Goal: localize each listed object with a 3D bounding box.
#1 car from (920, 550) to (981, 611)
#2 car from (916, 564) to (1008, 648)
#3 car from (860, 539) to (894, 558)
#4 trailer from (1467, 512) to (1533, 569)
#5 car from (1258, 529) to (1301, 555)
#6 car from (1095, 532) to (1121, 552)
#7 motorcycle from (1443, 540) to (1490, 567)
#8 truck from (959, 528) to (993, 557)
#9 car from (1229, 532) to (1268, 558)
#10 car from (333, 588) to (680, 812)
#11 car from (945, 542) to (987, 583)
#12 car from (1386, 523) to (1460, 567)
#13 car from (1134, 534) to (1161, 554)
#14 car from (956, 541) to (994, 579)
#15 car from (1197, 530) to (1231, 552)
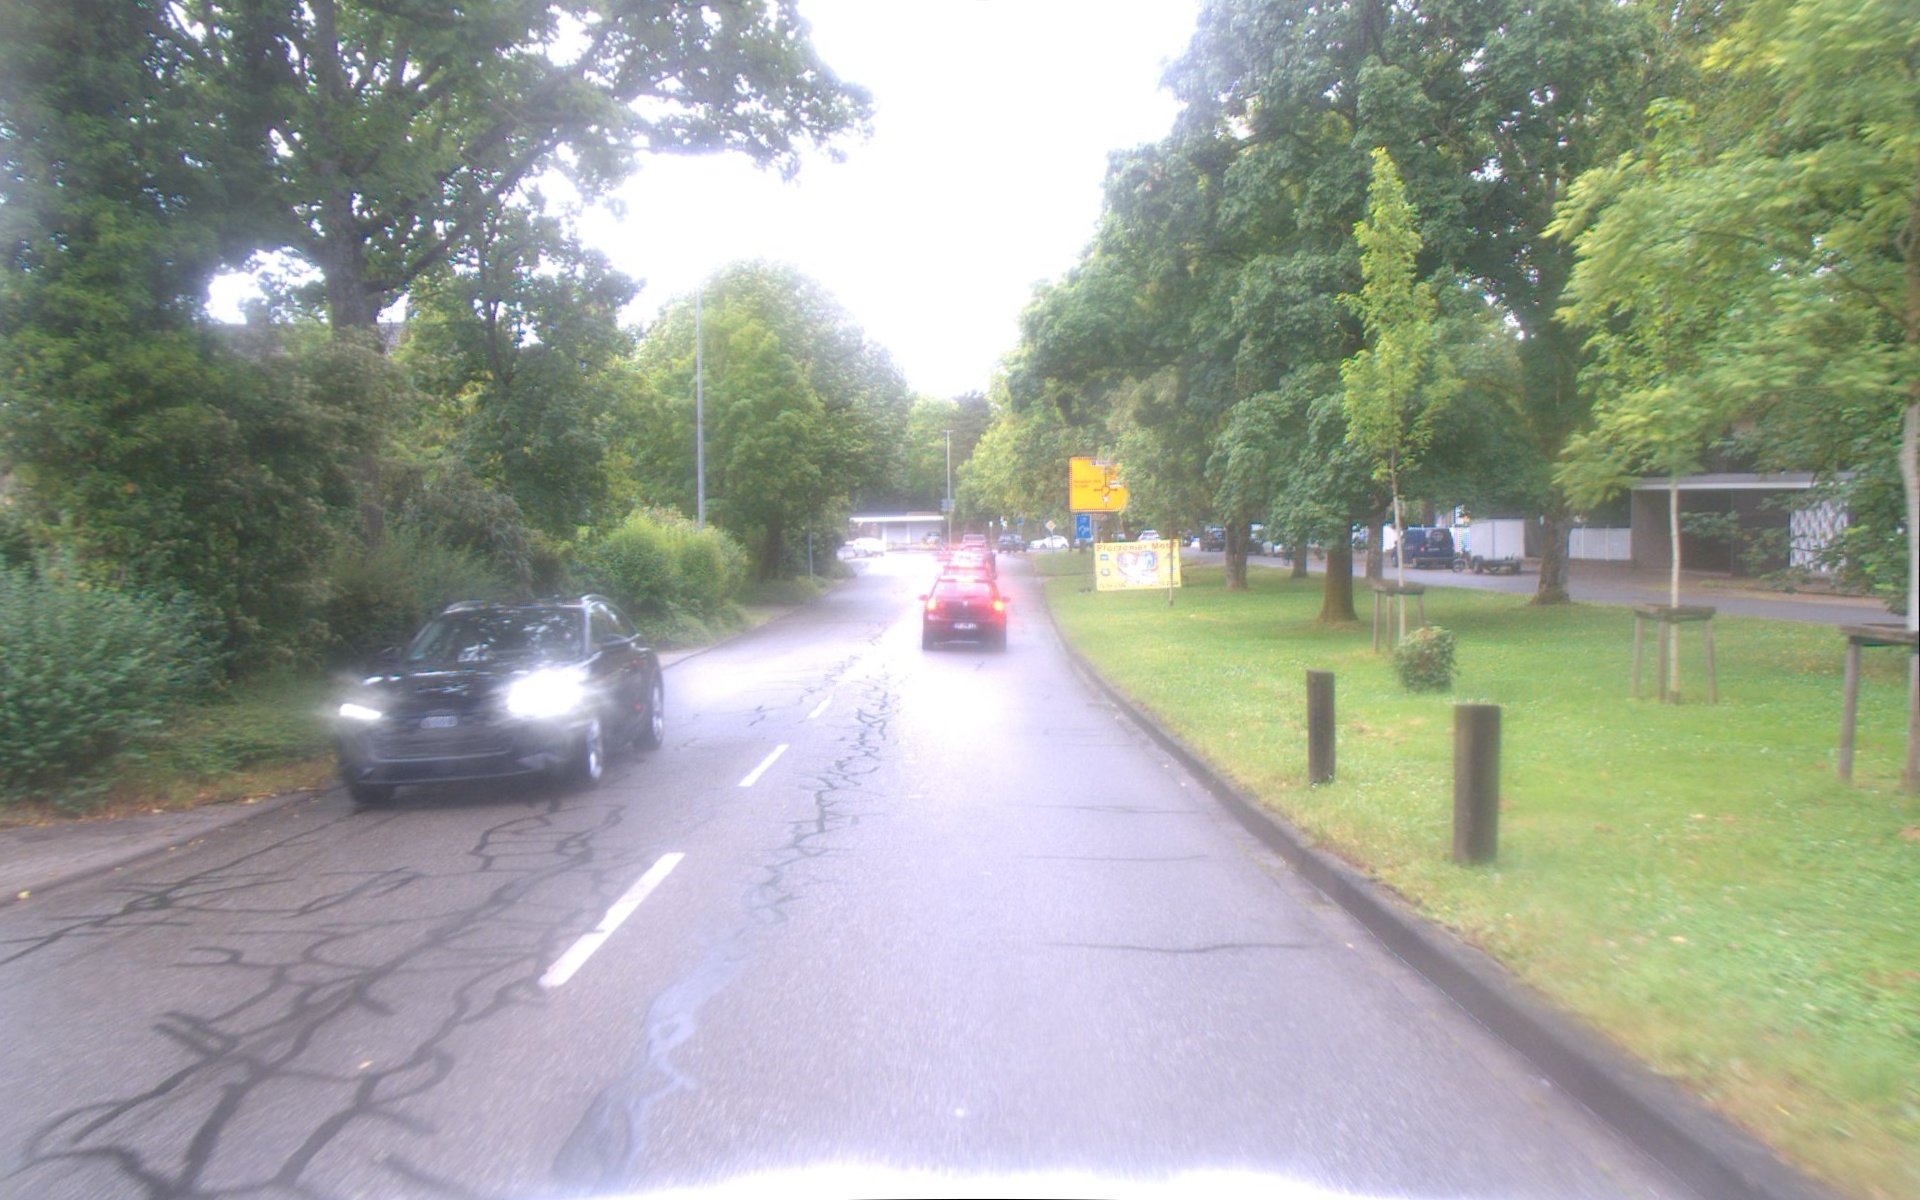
[{"bbox_3d":[-0.266,-0.652,52.679,1.817,1.815,4.001,-1,2,1],"label":"car"},{"bbox_3d":[0.080,0.074,34.280,1.761,1.541,3.755,1,2,1],"label":"car"},{"bbox_3d":[-7.487,-4.642,148.900,1.739,1.642,4.114,-3,2,-22],"label":"car"},{"bbox_3d":[21.614,-2.394,66.287,1.408,2.191,2.948,-3,2,-4],"label":"trailer"},{"bbox_3d":[19.805,-3.629,102.602,1.584,1.434,4.008,-2,3,-4],"label":"car"},{"bbox_3d":[12.035,-4.739,134.752,1.766,1.409,4.002,-3,3,1],"label":"car"},{"bbox_3d":[21.102,-1.936,68.908,1.846,1.111,0.659,0,3,20],"label":"motorcycle"},{"bbox_3d":[1.136,-4.300,122.640,2.367,2.039,5.151,-1,2,-1],"label":"truck"},{"bbox_3d":[19.260,-3.668,110.500,1.765,1.556,4.112,-2,3,-2],"label":"car"},{"bbox_3d":[-3.524,0.683,13.705,1.719,1.386,4.325,-2,2,-1],"label":"car"},{"bbox_3d":[0.285,-1.738,75.897,1.817,1.815,4.001,-1,2,1],"label":"car"},{"bbox_3d":[21.195,-2.568,75.926,1.902,1.840,4.649,-3,3,-2],"label":"car"},{"bbox_3d":[15.264,-4.588,134.822,1.766,1.430,4.002,-3,3,1],"label":"car"},{"bbox_3d":[0.767,-2.038,82.816,1.817,1.815,4.001,-1,2,1],"label":"car"},{"bbox_3d":[18.720,-4.386,122.058,1.765,1.435,4.112,-2,3,-2],"label":"car"}]
